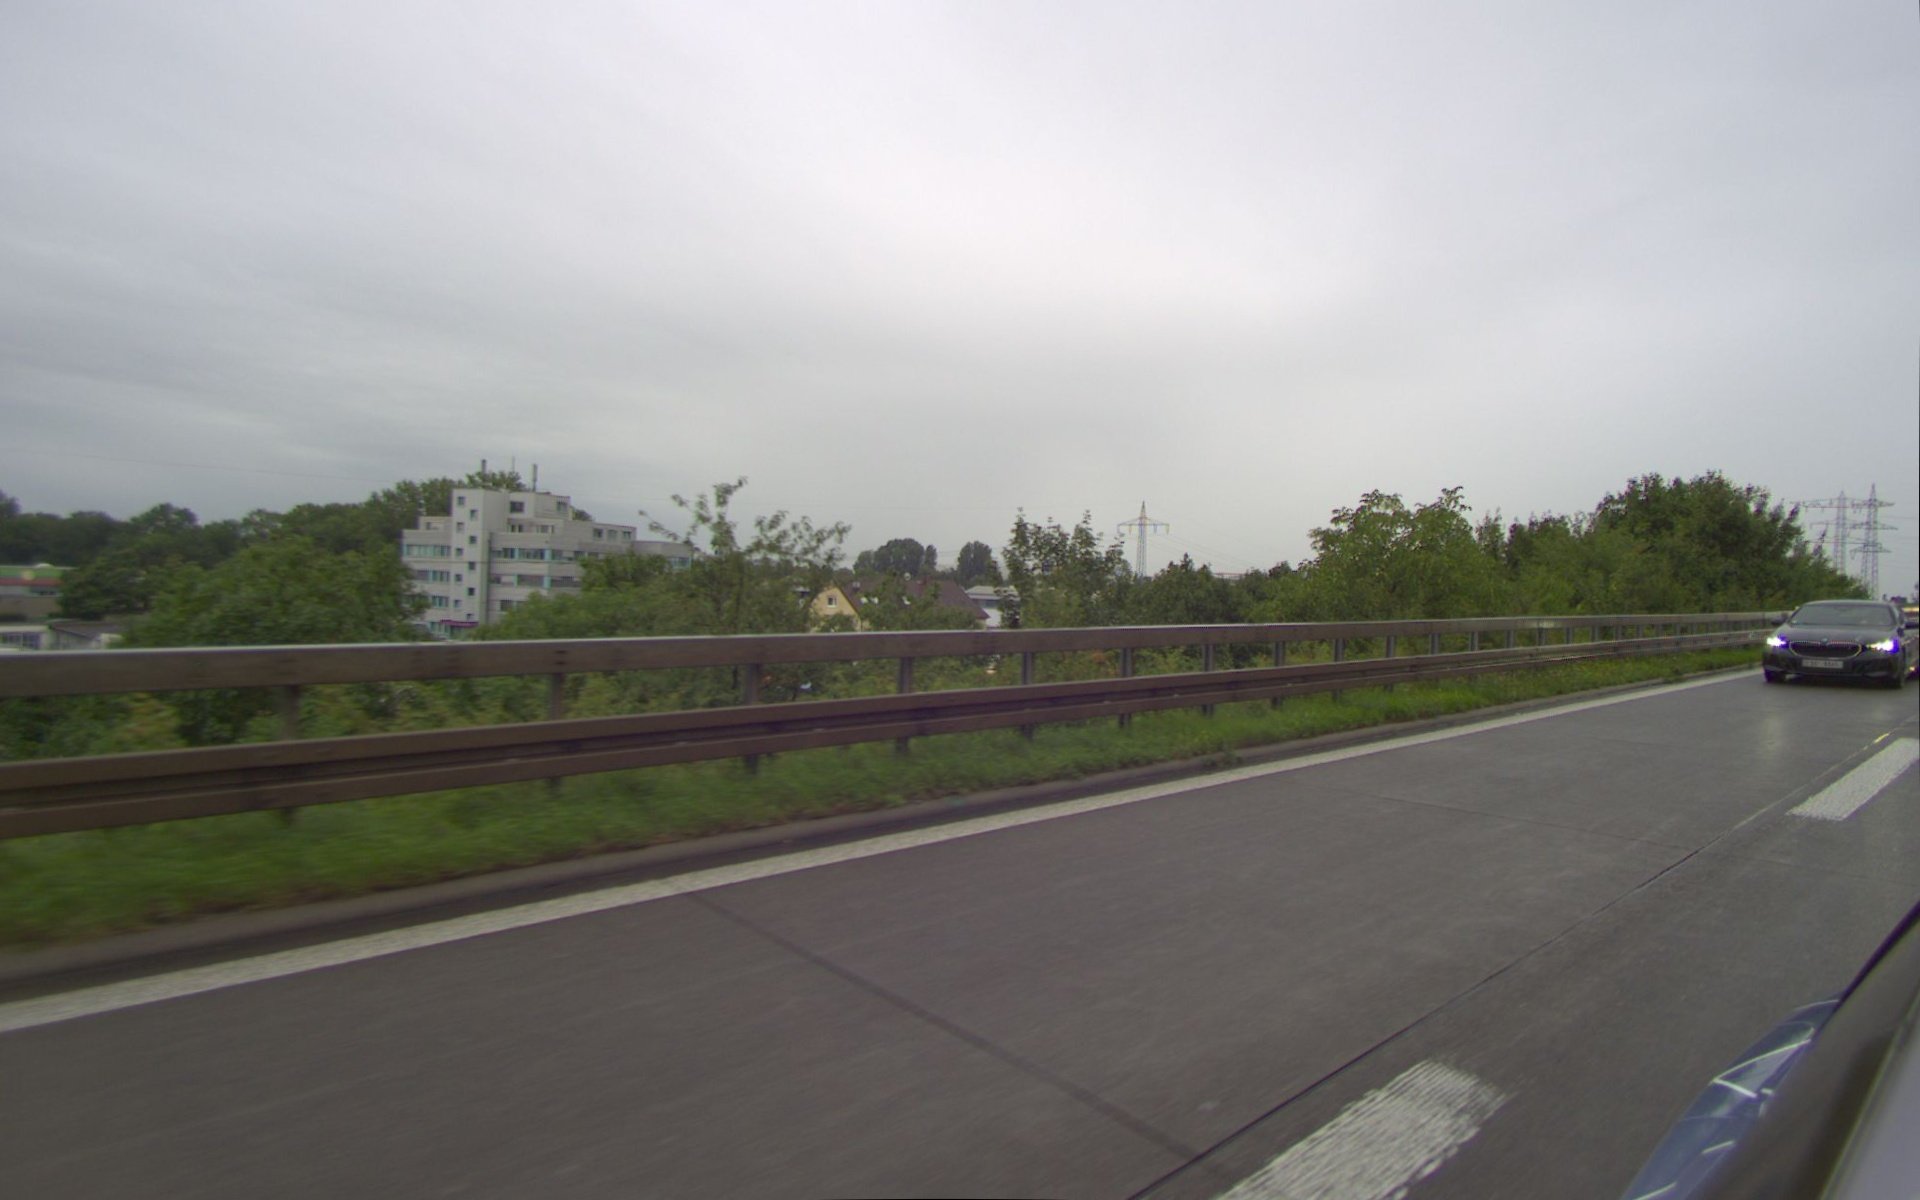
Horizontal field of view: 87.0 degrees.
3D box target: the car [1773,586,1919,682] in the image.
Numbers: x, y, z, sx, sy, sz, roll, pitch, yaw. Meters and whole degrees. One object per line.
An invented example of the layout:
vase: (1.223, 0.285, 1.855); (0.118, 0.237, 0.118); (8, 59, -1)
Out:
car: (16.540, 0.576, 18.610); (4.131, 1.560, 1.860); (1, -1, -42)
